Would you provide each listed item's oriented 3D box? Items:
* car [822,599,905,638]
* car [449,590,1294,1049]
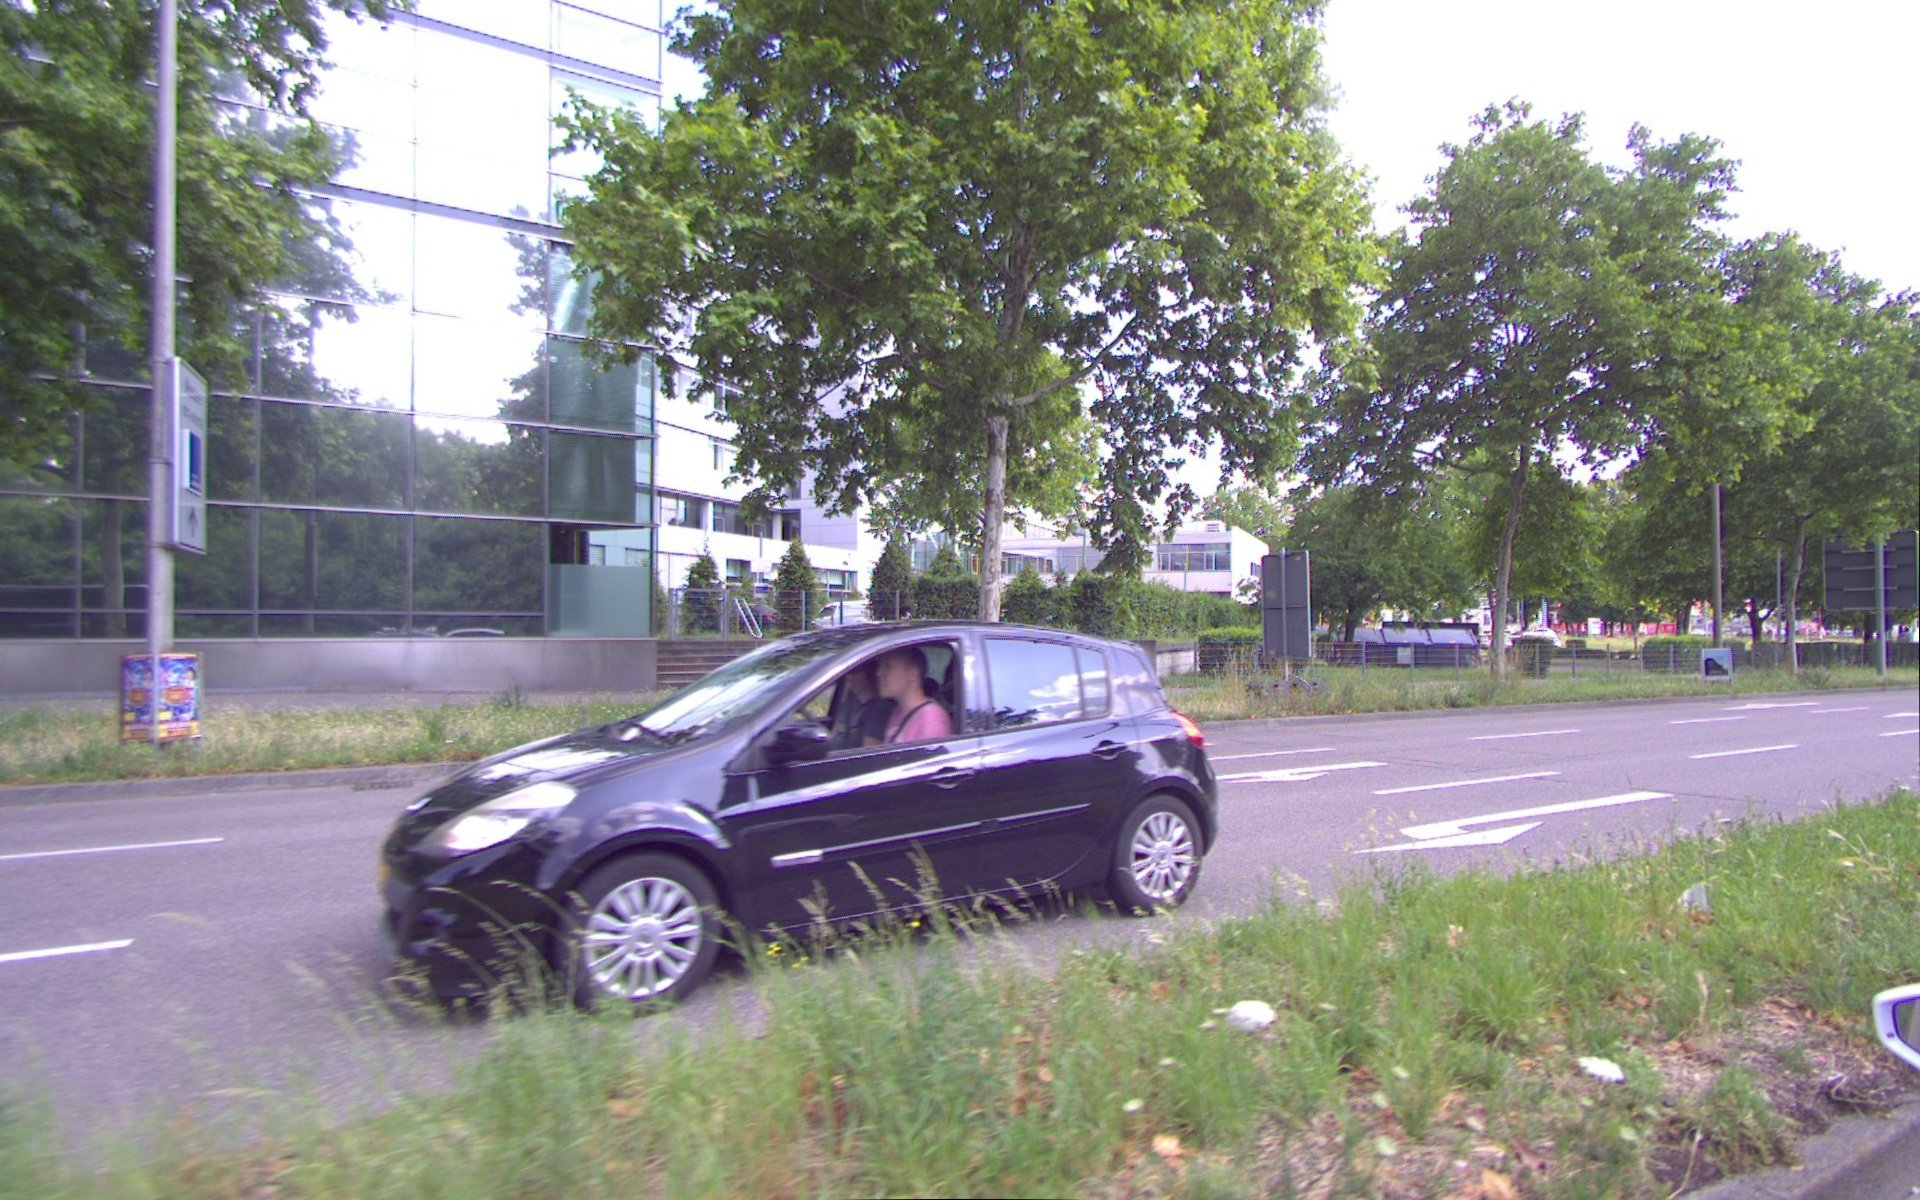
[{"bbox_3d":[-5.229,1.005,54.333,3.925,1.817,1.999,2,-3,26],"label":"car"},{"bbox_3d":[-0.300,0.796,5.040,3.898,1.483,1.685,2,-3,-32],"label":"car"}]
